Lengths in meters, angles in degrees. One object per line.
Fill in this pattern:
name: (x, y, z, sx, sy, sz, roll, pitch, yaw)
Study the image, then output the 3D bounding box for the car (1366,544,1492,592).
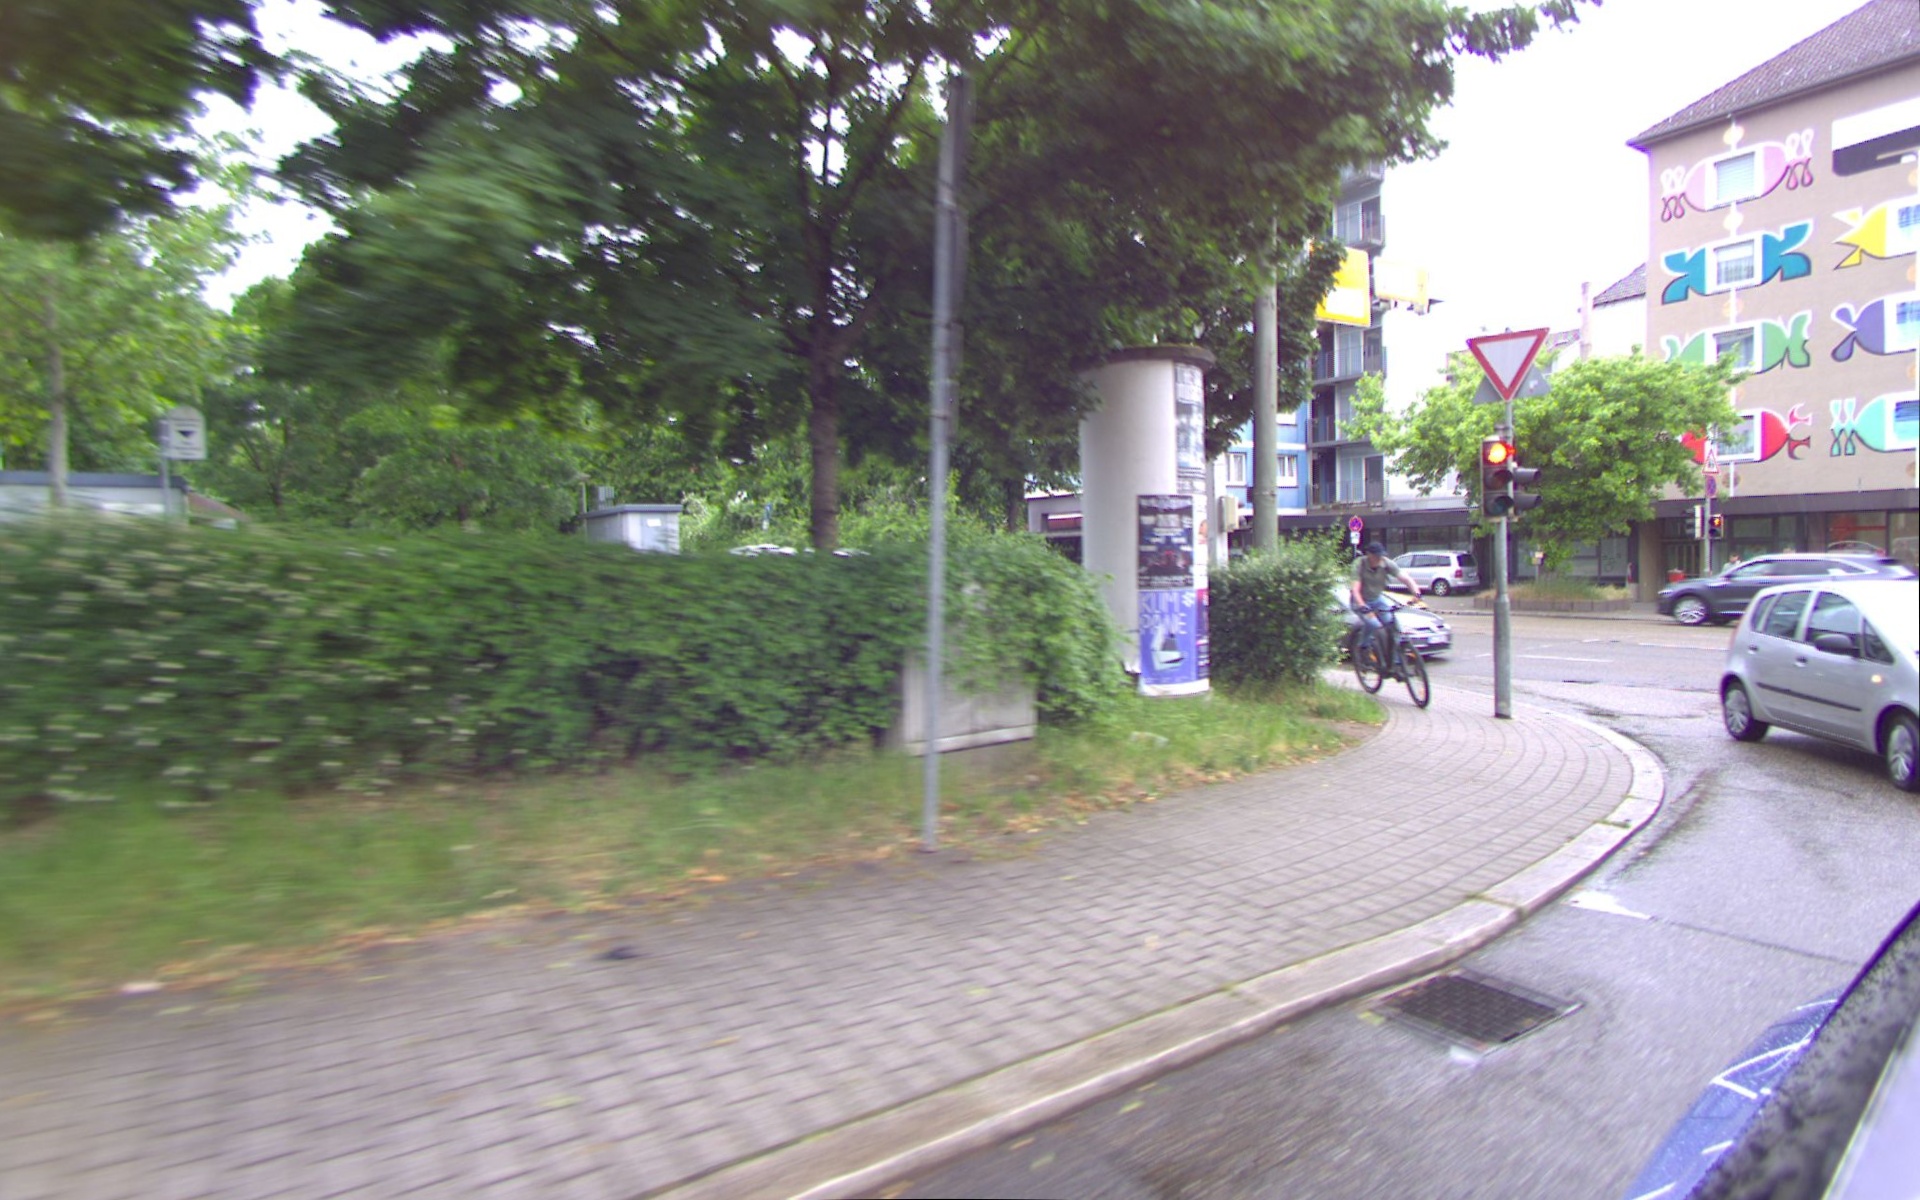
car: (18.111, -1.303, 39.266, 1.620, 1.685, 4.189, -5, 5, -34)

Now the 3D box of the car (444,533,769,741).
car: (-3.501, 0.237, 9.491, 1.607, 1.501, 4.209, 1, 1, -38)

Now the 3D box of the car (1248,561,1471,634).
car: (9.279, -0.143, 23.872, 1.954, 1.458, 4.583, -4, 4, -34)

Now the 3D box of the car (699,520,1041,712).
car: (-1.157, 0.106, 10.837, 1.607, 1.642, 4.209, 1, 1, -38)

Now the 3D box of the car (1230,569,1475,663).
car: (7.484, 0.216, 19.812, 1.654, 1.522, 4.510, -4, 3, -26)

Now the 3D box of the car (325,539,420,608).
car: (-15.146, -0.713, 26.003, 1.766, 1.630, 4.001, -1, 2, -35)

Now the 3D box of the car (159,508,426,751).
car: (-6.078, 0.166, 9.009, 1.607, 1.642, 4.209, 1, 1, -38)

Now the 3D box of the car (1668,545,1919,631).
car: (19.089, -0.349, 22.941, 1.952, 1.723, 4.576, -2, 3, -31)

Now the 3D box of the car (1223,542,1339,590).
car: (12.453, -1.369, 39.484, 1.620, 1.685, 4.189, -5, 5, -34)

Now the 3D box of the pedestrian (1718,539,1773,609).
pedestrian: (20.607, -0.698, 26.548, 0.802, 1.795, 0.904, -2, 2, -34)

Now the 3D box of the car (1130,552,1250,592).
car: (8.762, -1.095, 38.942, 1.675, 1.441, 4.584, -2, 3, -35)

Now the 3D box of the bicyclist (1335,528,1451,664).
bicyclist: (5.113, -0.055, 12.015, 0.872, 1.508, 0.969, 3, 1, 0)

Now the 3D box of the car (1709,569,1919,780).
car: (8.026, 0.512, 8.269, 1.663, 1.523, 3.823, -1, 1, 14)

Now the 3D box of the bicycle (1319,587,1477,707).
bicycle: (5.090, 0.493, 11.955, 0.872, 1.202, 2.134, 3, 2, 0)

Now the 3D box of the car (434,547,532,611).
car: (-13.207, -0.605, 27.898, 1.766, 1.630, 4.001, -1, 2, -35)

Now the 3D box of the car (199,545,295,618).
car: (-17.459, -0.496, 24.824, 1.766, 1.630, 4.001, -1, 2, -35)

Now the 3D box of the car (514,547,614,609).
car: (-11.384, -0.669, 28.978, 1.766, 1.630, 4.001, -1, 2, -35)
